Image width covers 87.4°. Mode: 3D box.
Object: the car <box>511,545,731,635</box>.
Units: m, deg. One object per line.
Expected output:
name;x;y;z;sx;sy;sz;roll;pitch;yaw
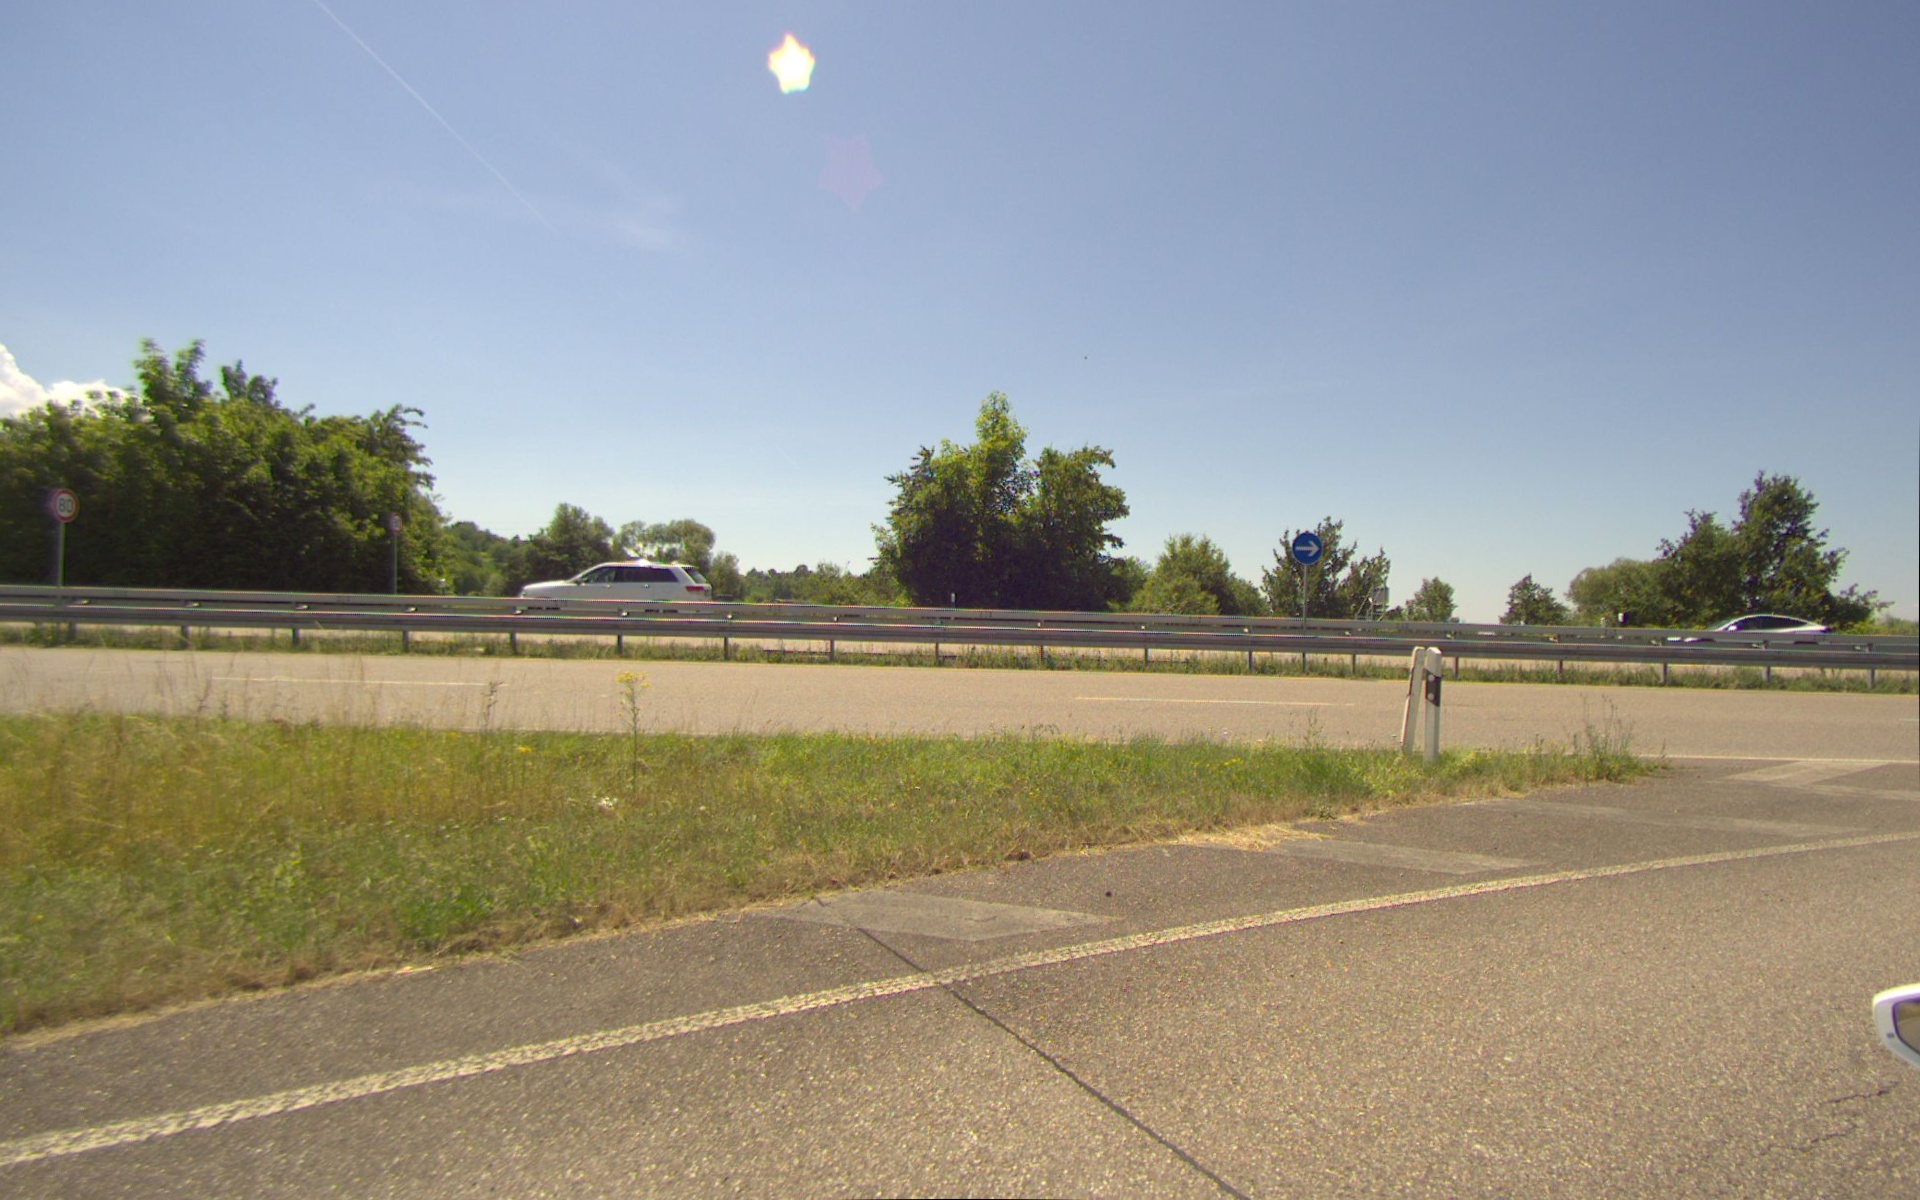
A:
car;-8.486;-0.241;25.479;4.816;1.918;2.000;3;0;-1

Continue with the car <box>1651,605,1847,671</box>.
car;26.938;1.260;34.488;4.813;1.918;1.942;3;0;15
